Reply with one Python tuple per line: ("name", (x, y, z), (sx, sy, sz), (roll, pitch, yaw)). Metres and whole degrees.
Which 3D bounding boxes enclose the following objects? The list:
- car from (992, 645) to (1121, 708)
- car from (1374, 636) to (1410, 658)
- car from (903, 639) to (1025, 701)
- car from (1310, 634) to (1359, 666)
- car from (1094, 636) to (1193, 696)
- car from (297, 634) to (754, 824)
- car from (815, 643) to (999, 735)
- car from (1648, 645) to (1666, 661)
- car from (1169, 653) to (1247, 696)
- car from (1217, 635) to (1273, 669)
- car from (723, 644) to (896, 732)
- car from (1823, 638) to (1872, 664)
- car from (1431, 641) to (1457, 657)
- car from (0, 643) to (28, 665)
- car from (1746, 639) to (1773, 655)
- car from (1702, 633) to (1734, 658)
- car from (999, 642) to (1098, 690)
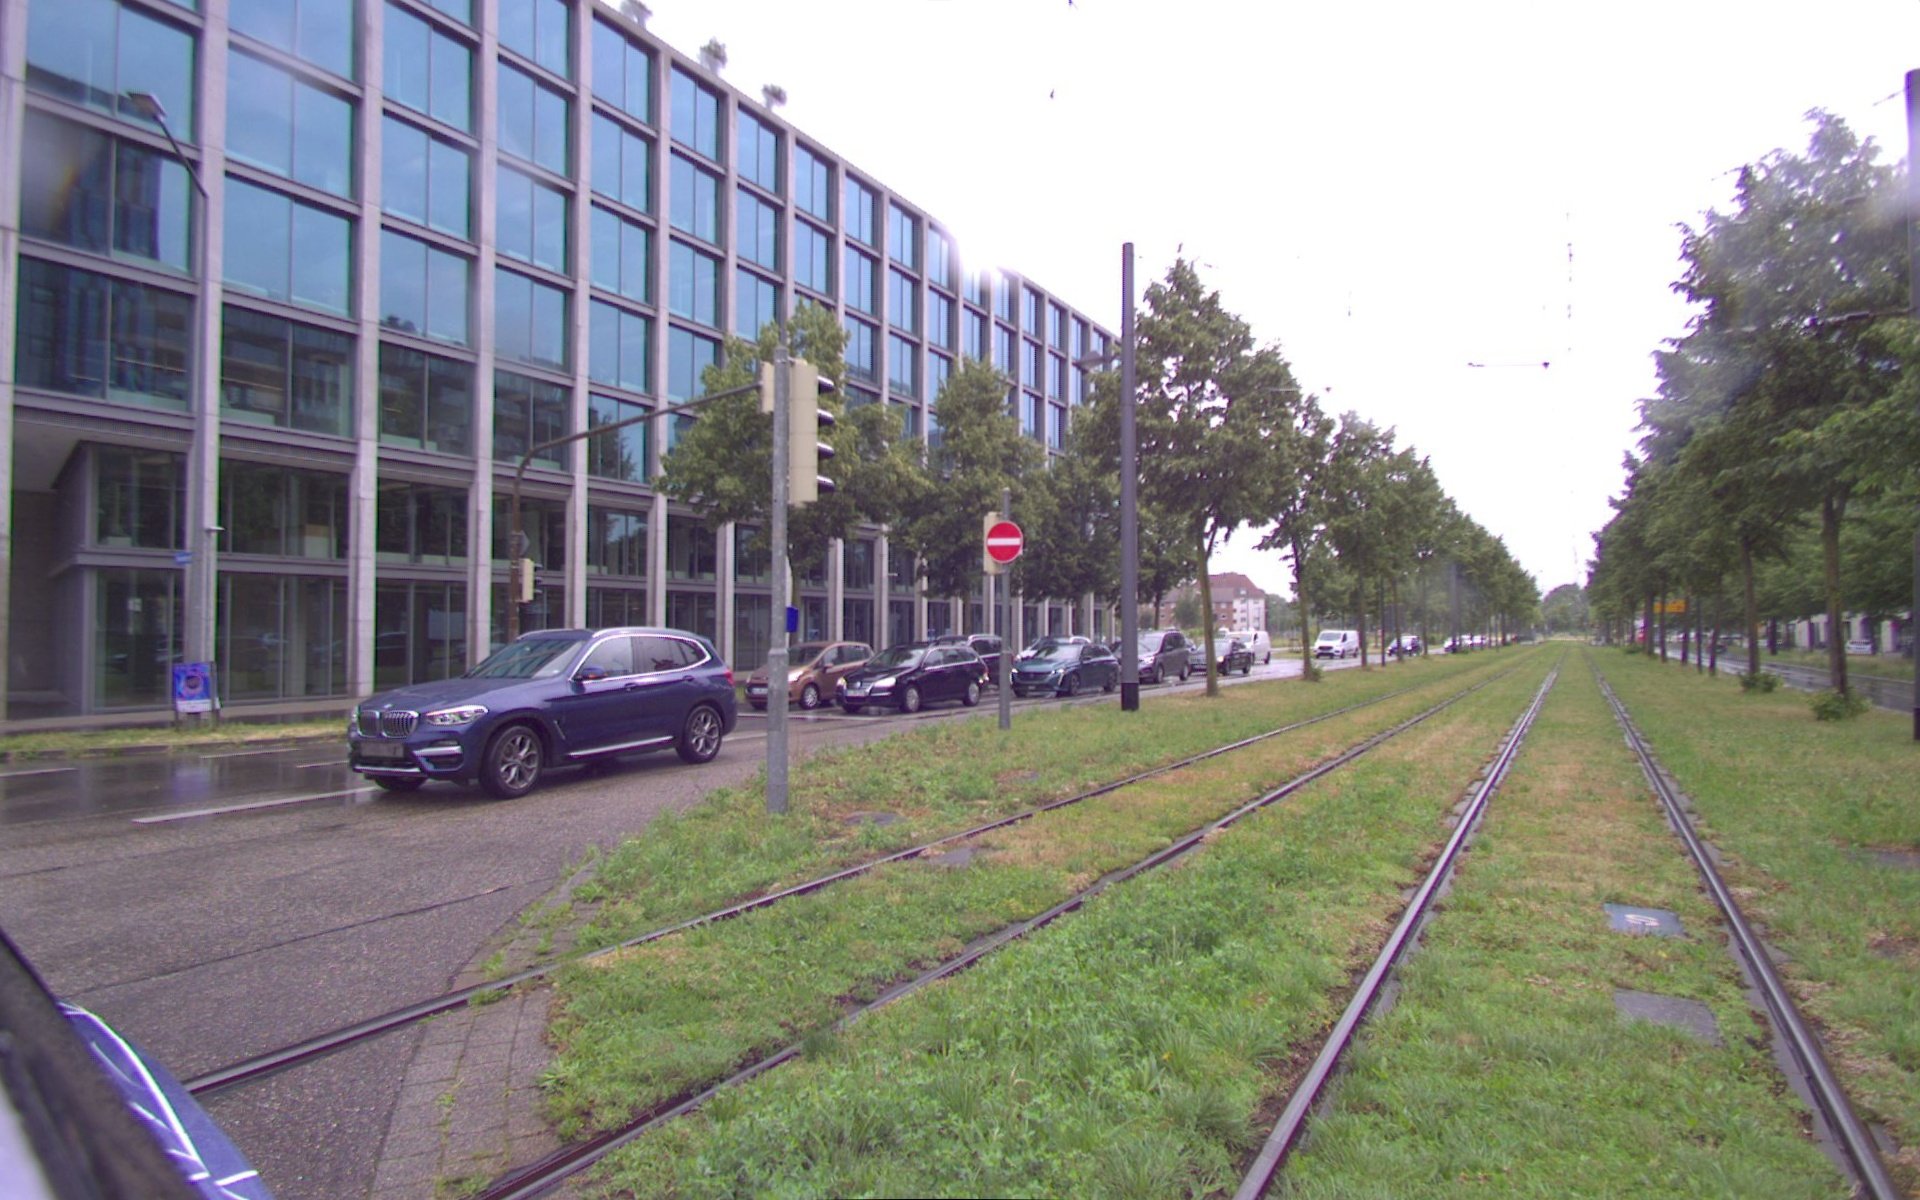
("car", (2.810, 2.071, 28.396), (1.949, 1.396, 4.427), (-1, 0, 30))
("car", (33.137, 3.582, 77.610), (1.951, 1.506, 3.919), (-1, 0, 32))
("car", (0.206, 2.069, 30.921), (1.949, 1.551, 4.229), (-1, 0, 29))
("car", (26.962, 3.525, 72.757), (2.268, 2.022, 5.313), (-1, 0, 33))
("car", (6.434, 2.213, 35.150), (1.950, 1.862, 4.495), (-1, -1, 31))
("car", (-4.545, 1.231, 11.485), (1.919, 1.673, 4.674), (-1, -2, 26))
("car", (-1.055, 1.867, 22.487), (1.950, 1.571, 4.417), (-1, 1, 31))
("car", (97.698, 7.424, 141.974), (1.995, 2.029, 3.954), (-1, 0, 34))
("car", (10.370, 3.052, 42.078), (1.950, 1.396, 4.556), (-1, 0, 31))
("car", (16.243, 2.910, 57.532), (1.949, 1.664, 4.979), (-1, 0, 29))
("car", (-3.534, 2.023, 24.482), (1.949, 1.707, 4.229), (-1, 0, 30))
("car", (67.500, 3.833, 77.012), (1.993, 1.682, 4.673), (-1, 0, 32))
("car", (47.702, 4.803, 99.708), (1.950, 1.525, 4.527), (0, -2, 31))
("car", (-70.271, 3.948, 72.608), (4.953, 1.519, 1.855), (-1, 0, -44))
("car", (91.239, 5.367, 115.556), (1.881, 1.517, 4.673), (-1, 0, 32))
("car", (67.315, 4.024, 89.925), (1.940, 2.029, 3.957), (-1, 0, 32))
("car", (3.225, 2.284, 36.083), (1.949, 1.396, 4.229), (-1, 0, 29))
